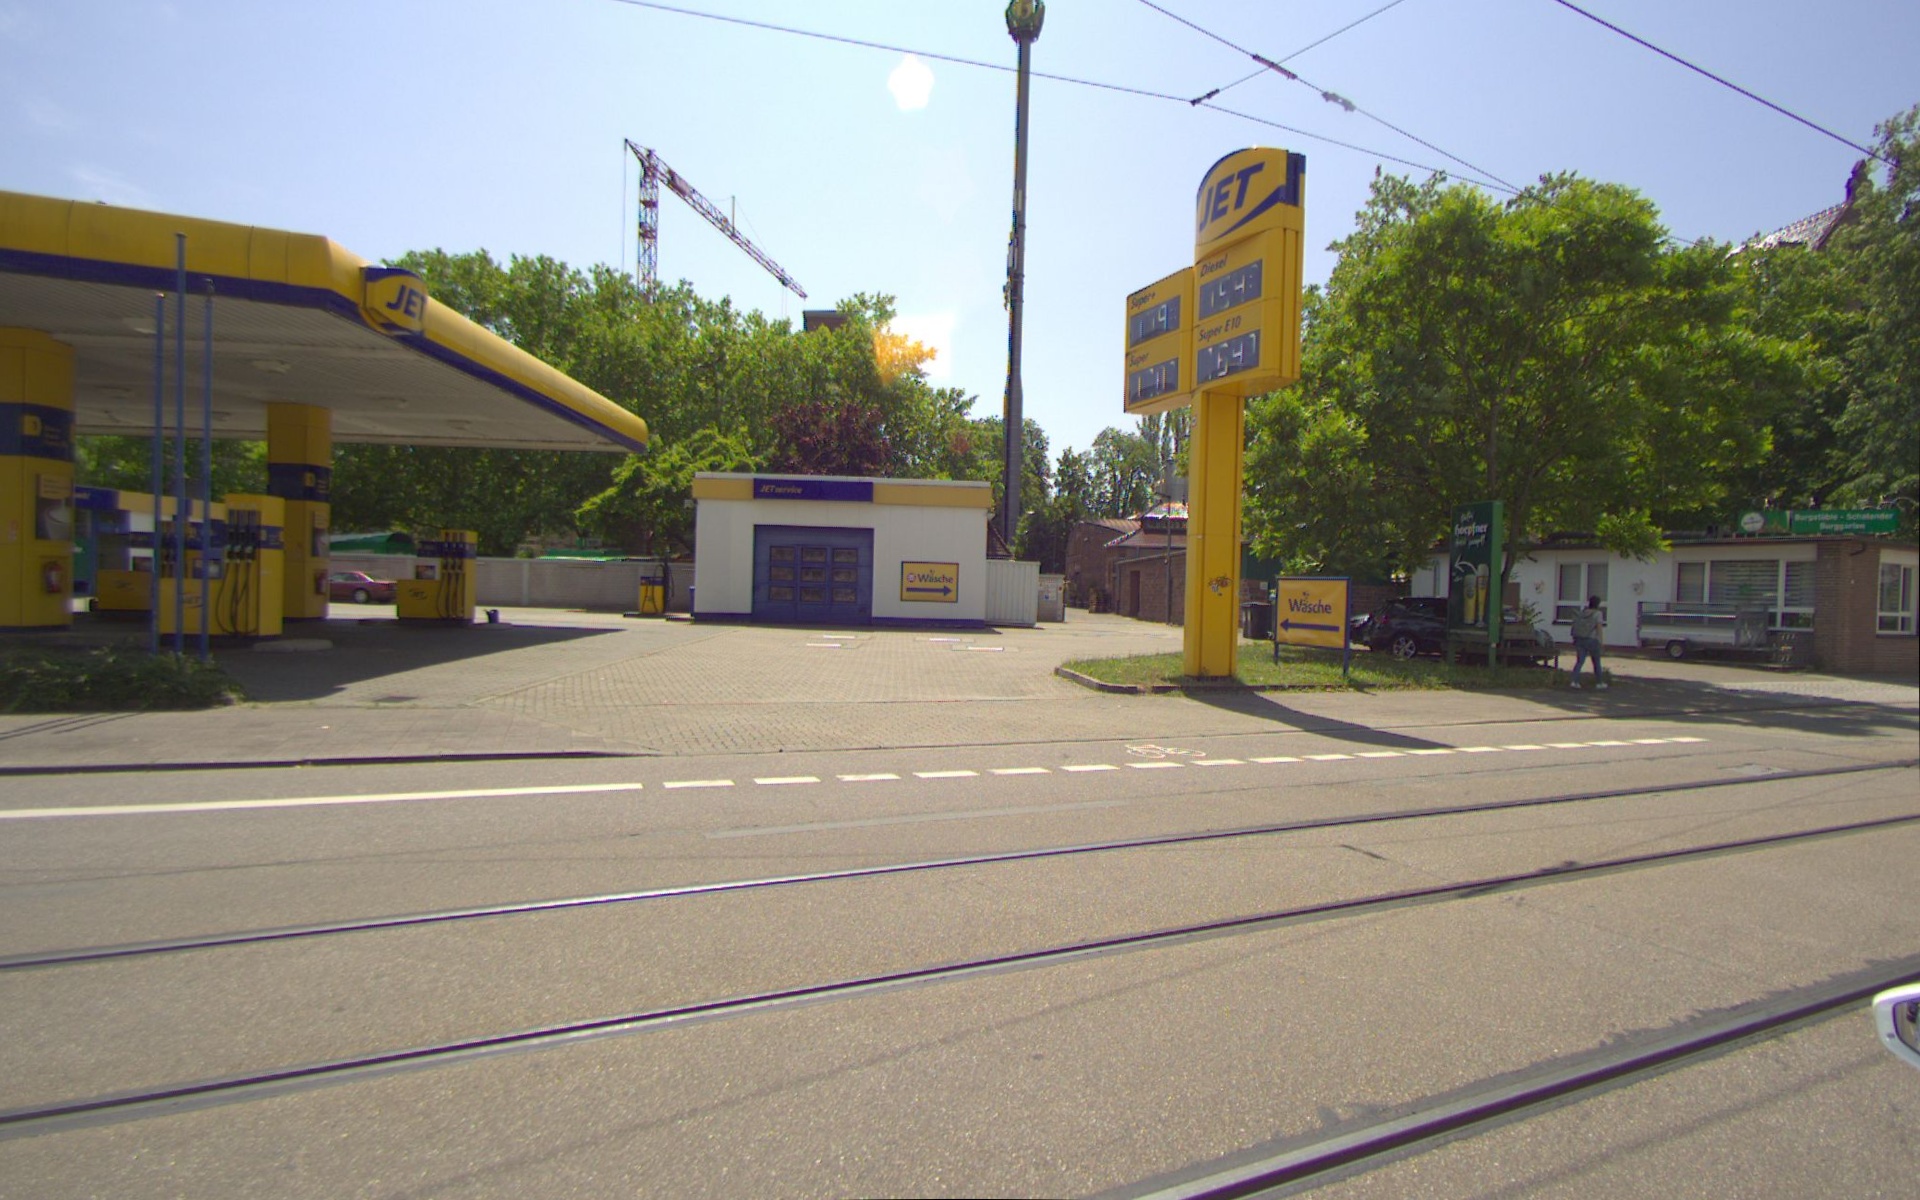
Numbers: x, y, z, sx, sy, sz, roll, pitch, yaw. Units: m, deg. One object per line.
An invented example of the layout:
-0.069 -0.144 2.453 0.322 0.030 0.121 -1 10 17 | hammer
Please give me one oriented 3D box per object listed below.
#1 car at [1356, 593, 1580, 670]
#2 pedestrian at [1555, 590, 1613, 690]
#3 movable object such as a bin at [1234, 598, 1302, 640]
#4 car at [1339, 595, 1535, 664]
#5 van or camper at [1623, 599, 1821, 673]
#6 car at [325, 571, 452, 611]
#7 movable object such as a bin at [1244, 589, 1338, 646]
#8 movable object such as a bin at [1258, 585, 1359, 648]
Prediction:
11.974 0.687 24.005 4.361 1.508 1.936 3 2 14 | car
11.610 0.729 18.698 0.691 1.799 0.577 1 2 -30 | pedestrian
9.273 0.564 30.316 1.534 1.153 1.408 2 2 -2 | movable object such as a bin
12.581 0.739 26.799 4.361 1.508 1.936 3 2 13 | car
20.300 0.900 26.935 1.846 1.651 3.771 0 2 -26 | van or camper
-23.261 -0.372 40.982 4.156 1.429 1.720 2 1 0 | car
9.282 0.475 28.294 2.059 1.451 1.525 2 2 -2 | movable object such as a bin
9.220 0.417 26.692 2.059 1.530 1.525 2 2 -2 | movable object such as a bin
